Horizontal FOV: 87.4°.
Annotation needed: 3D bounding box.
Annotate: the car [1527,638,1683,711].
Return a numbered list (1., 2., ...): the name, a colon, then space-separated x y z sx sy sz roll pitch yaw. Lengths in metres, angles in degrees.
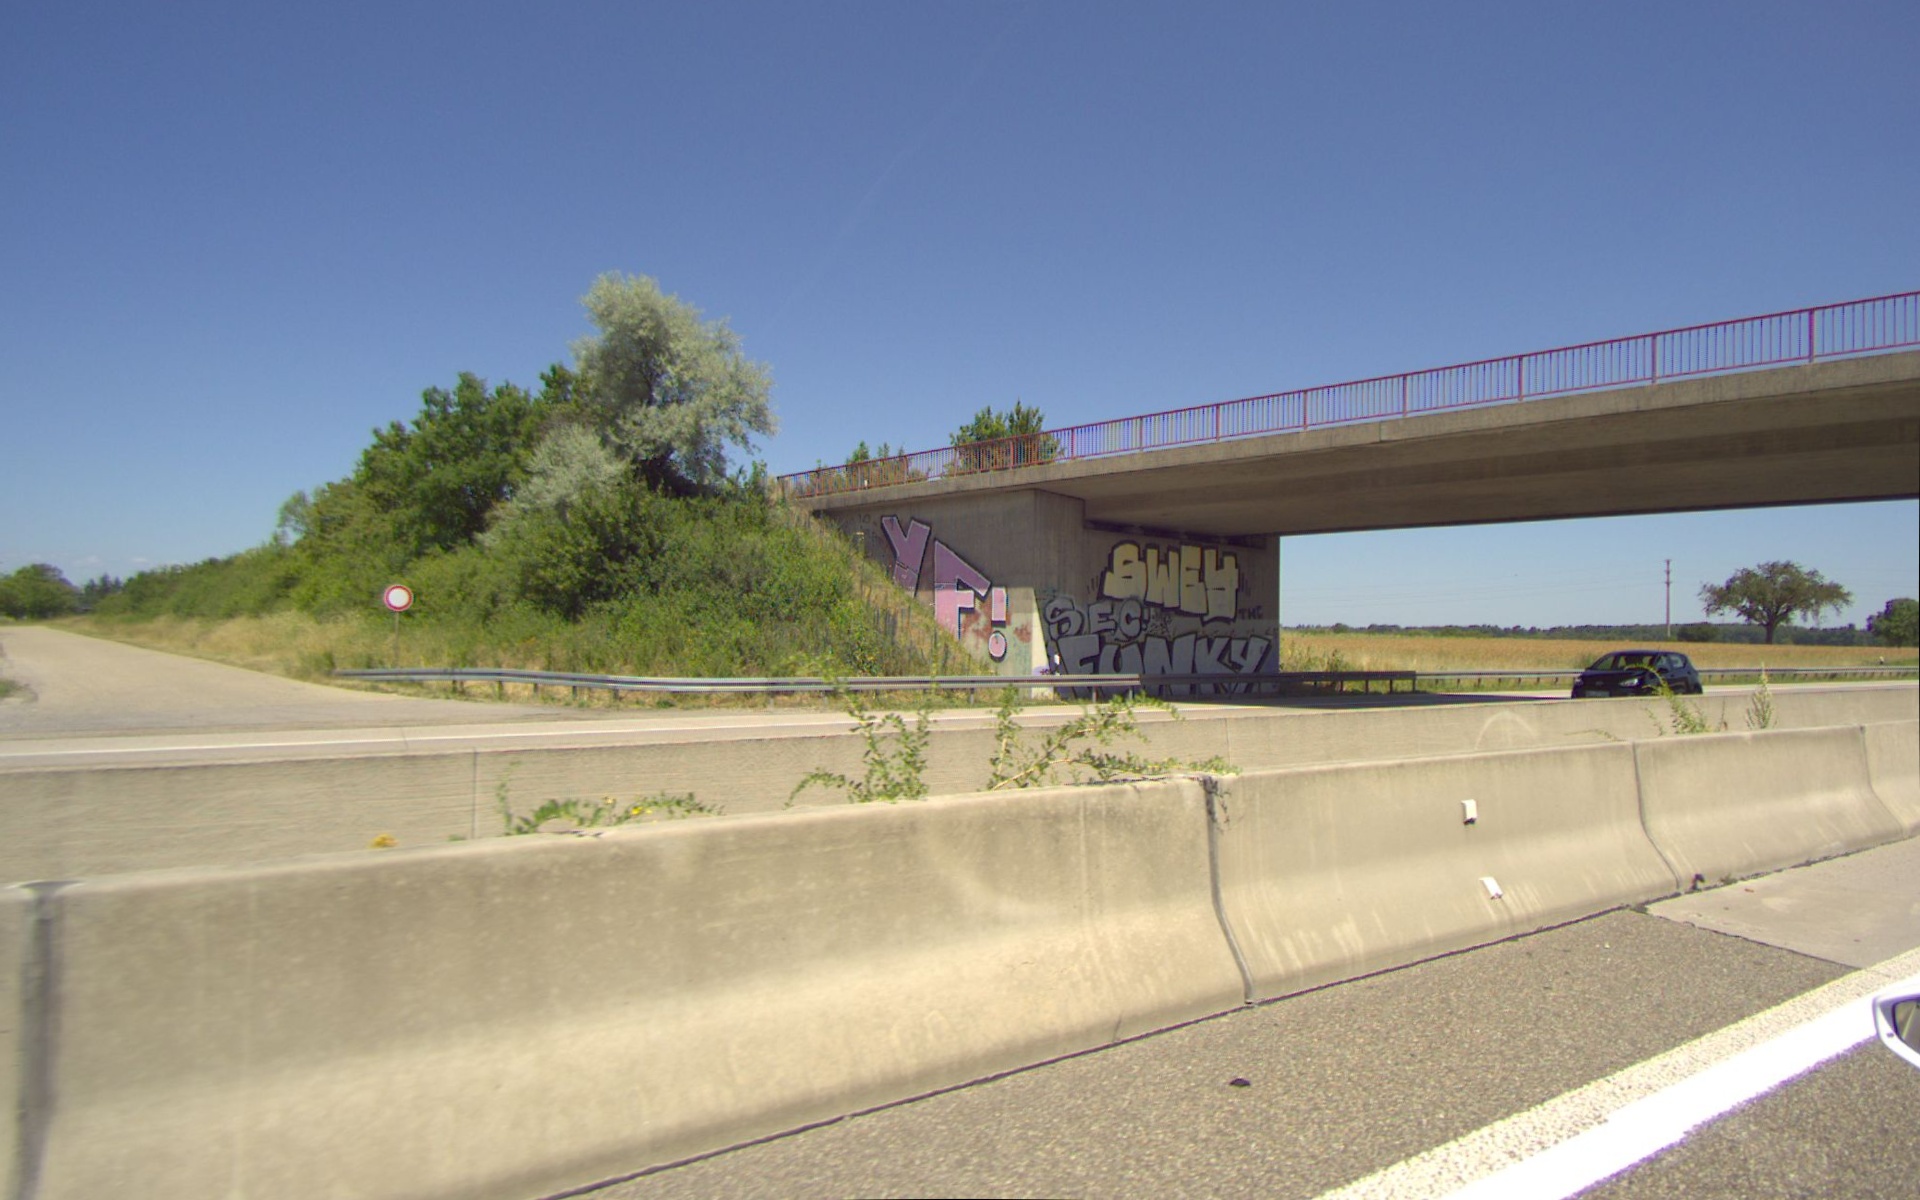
1. car: 15.810 1.783 24.590 3.819 1.640 1.757 2 -2 -32
